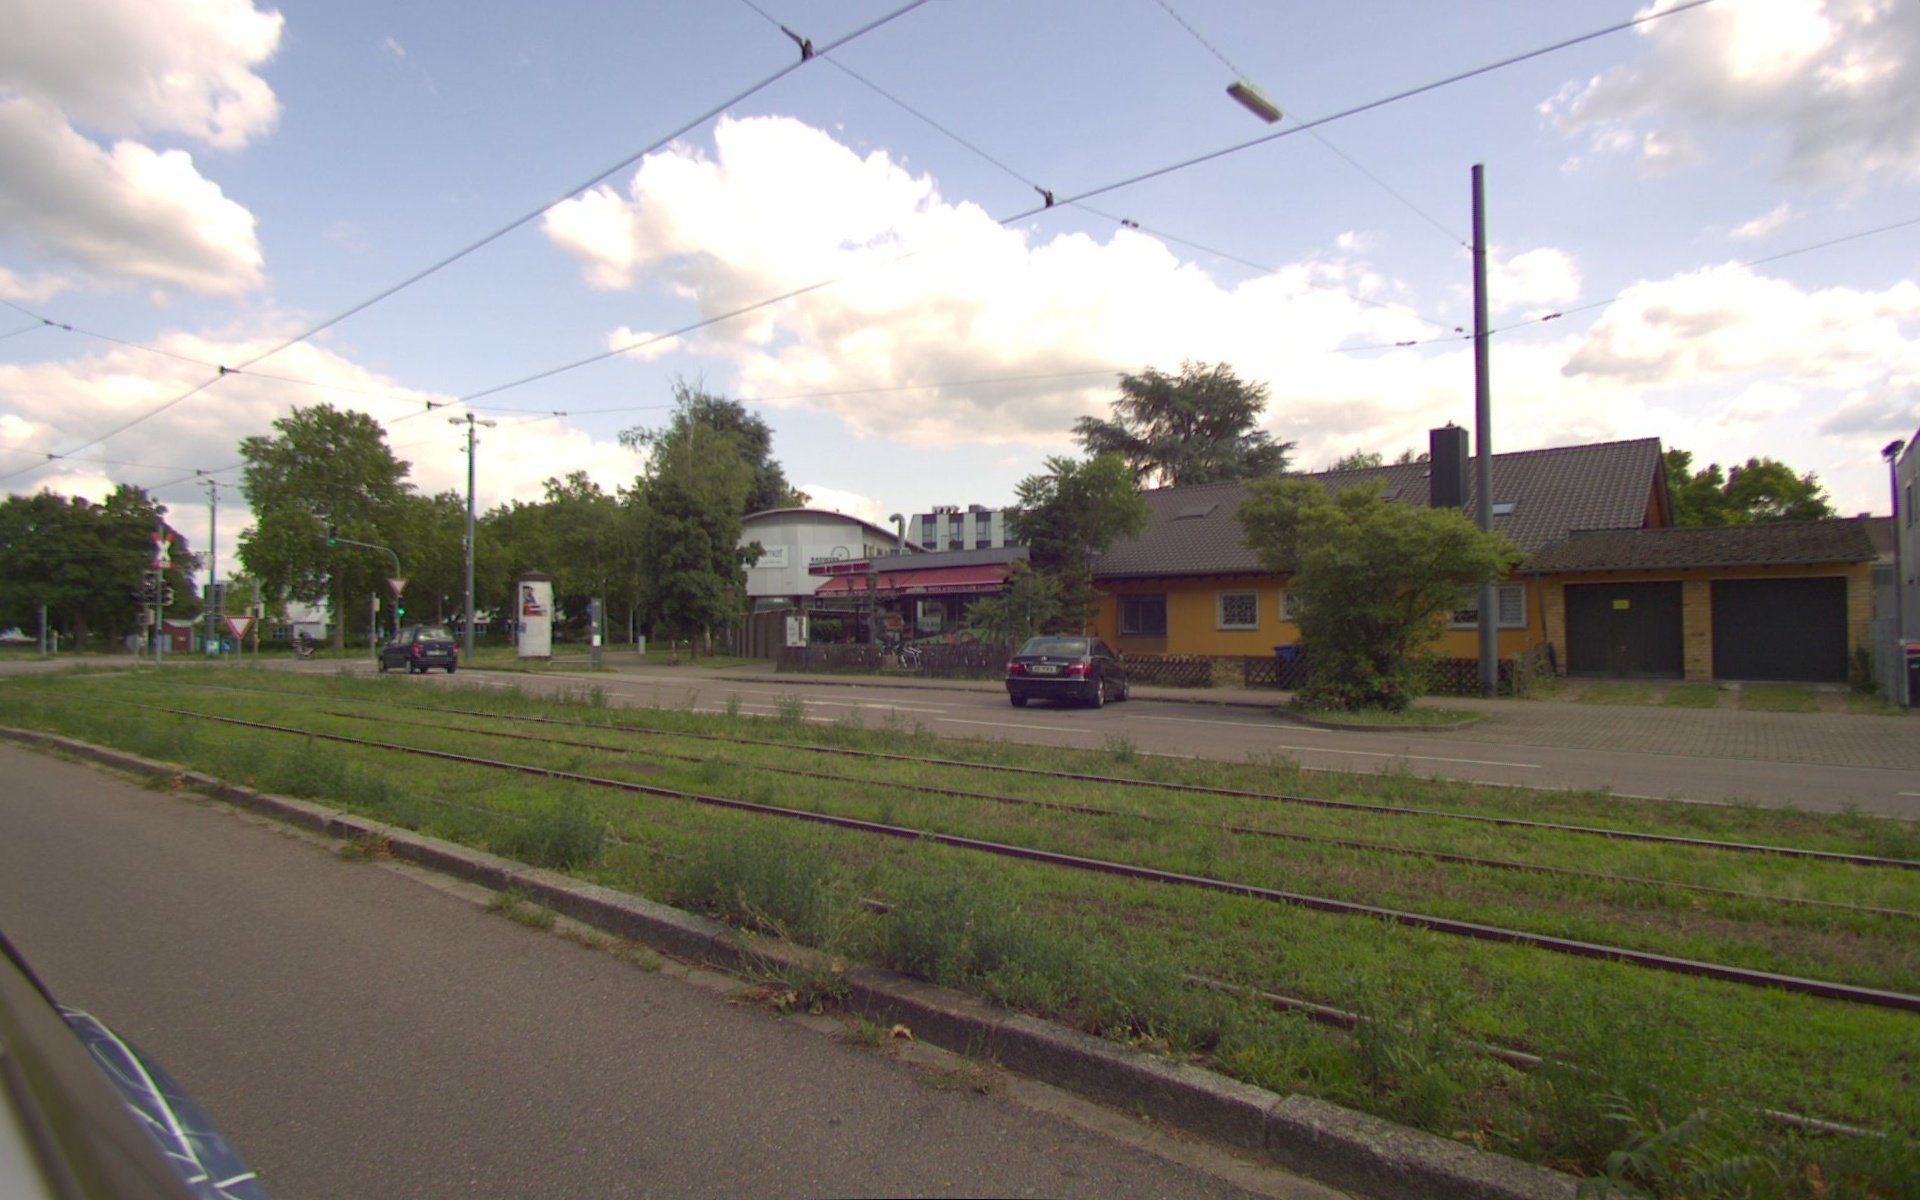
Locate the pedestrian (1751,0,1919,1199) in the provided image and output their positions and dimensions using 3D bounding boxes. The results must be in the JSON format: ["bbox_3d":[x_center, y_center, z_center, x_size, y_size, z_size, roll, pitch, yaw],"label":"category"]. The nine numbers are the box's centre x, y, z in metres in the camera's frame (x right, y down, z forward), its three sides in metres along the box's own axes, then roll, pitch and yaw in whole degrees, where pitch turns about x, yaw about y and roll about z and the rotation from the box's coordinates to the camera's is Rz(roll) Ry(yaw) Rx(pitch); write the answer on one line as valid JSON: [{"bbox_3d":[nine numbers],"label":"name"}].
[{"bbox_3d":[1.091,0.382,0.446,0.836,1.699,0.808,0,-1,-19],"label":"pedestrian"}]

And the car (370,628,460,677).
[{"bbox_3d":[-19.434,1.832,36.040,3.495,1.639,1.759,-2,-2,42],"label":"car"}]

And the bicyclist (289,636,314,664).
[{"bbox_3d":[-36.430,2.752,56.010,0.824,1.481,0.801,-3,-2,15],"label":"bicyclist"}]

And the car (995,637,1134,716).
[{"bbox_3d":[2.318,1.503,21.189,1.869,1.418,4.620,0,-2,19],"label":"car"}]

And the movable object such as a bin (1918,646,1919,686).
[{"bbox_3d":[17.332,1.339,17.907,0.481,1.050,0.499,-3,-2,40],"label":"movable object such as a bin"}]

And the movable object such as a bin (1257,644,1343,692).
[{"bbox_3d":[8.162,1.611,24.316,1.616,1.109,1.242,-2,-3,39],"label":"movable object such as a bin"}]

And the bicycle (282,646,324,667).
[{"bbox_3d":[-36.305,3.117,55.962,2.050,1.068,0.800,-3,-2,16],"label":"bicycle"}]

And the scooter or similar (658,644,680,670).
[{"bbox_3d":[-12.186,2.369,42.336,0.421,1.041,1.225,1,-3,-40],"label":"scooter or similar"}]

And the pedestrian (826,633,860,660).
[{"bbox_3d":[-5.018,1.988,43.535,0.931,1.155,1.141,-2,-3,41],"label":"pedestrian"}]

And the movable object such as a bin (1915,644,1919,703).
[{"bbox_3d":[17.686,1.334,18.334,0.479,1.050,0.488,-3,-2,40],"label":"movable object such as a bin"}]
